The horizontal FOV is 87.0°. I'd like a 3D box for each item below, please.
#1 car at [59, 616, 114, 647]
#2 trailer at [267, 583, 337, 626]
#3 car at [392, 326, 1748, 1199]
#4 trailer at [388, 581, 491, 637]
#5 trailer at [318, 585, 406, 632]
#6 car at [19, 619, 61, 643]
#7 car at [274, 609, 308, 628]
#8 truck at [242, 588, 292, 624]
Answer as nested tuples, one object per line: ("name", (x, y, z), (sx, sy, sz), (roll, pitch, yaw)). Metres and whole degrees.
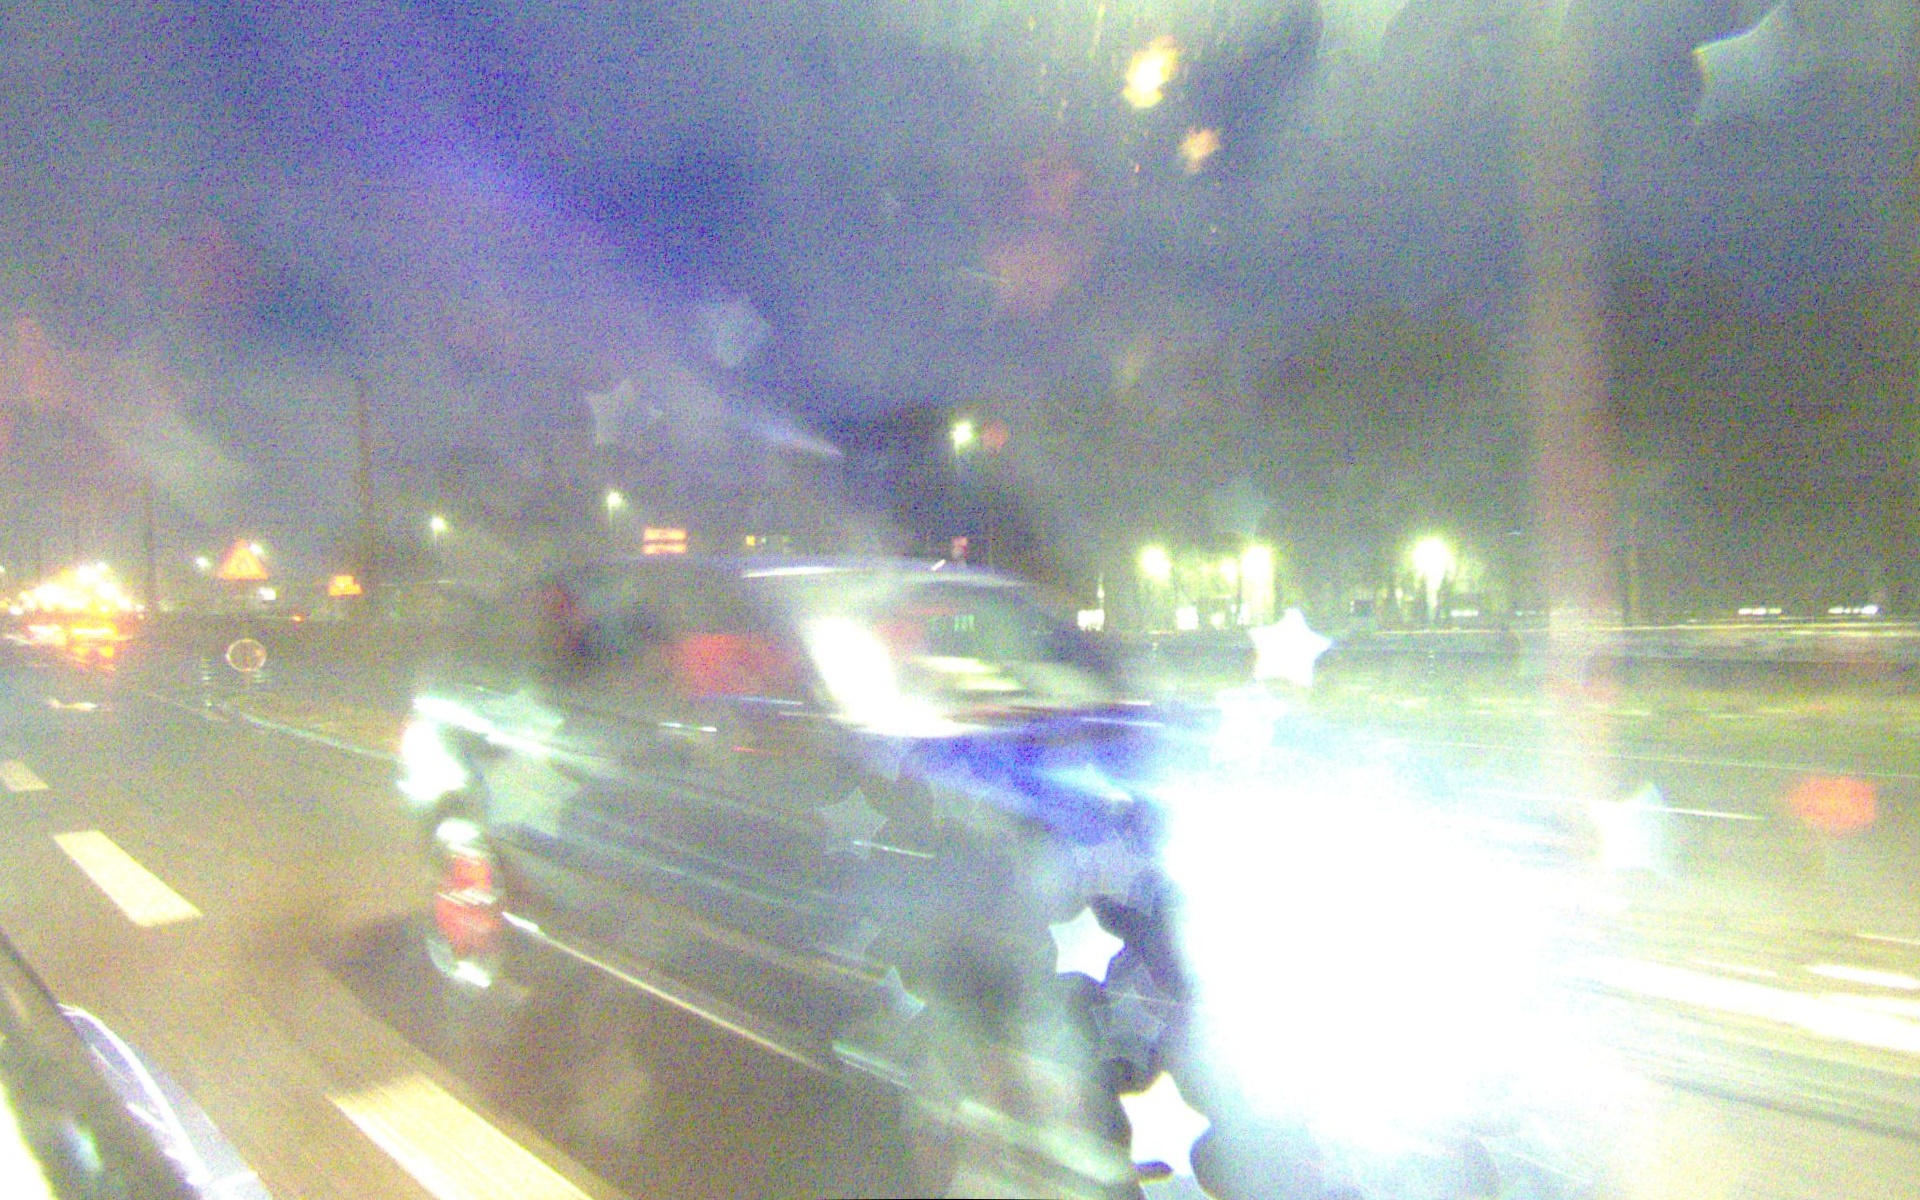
("car", (-50.891, 1.802, 58.926), (4.649, 1.654, 1.743), (-1, 1, 41))
("trailer", (-83.725, 0.525, 128.567), (14.839, 5.049, 3.928), (0, 4, 44))
("car", (-0.203, 0.587, 3.471), (4.436, 1.795, 1.764), (-2, -1, 43))
("trailer", (-49.117, 0.762, 95.102), (14.251, 4.643, 3.928), (0, 4, 44))
("trailer", (-65.242, 0.844, 110.104), (15.519, 4.643, 3.928), (0, 4, 44))
("car", (-65.455, 2.183, 71.972), (4.029, 1.600, 1.783), (-1, 1, 42))
("car", (-65.755, 1.806, 99.388), (4.218, 1.706, 1.767), (-2, 1, 43))
("truck", (-96.168, 0.795, 140.341), (10.215, 4.643, 3.402), (0, 4, 44))
